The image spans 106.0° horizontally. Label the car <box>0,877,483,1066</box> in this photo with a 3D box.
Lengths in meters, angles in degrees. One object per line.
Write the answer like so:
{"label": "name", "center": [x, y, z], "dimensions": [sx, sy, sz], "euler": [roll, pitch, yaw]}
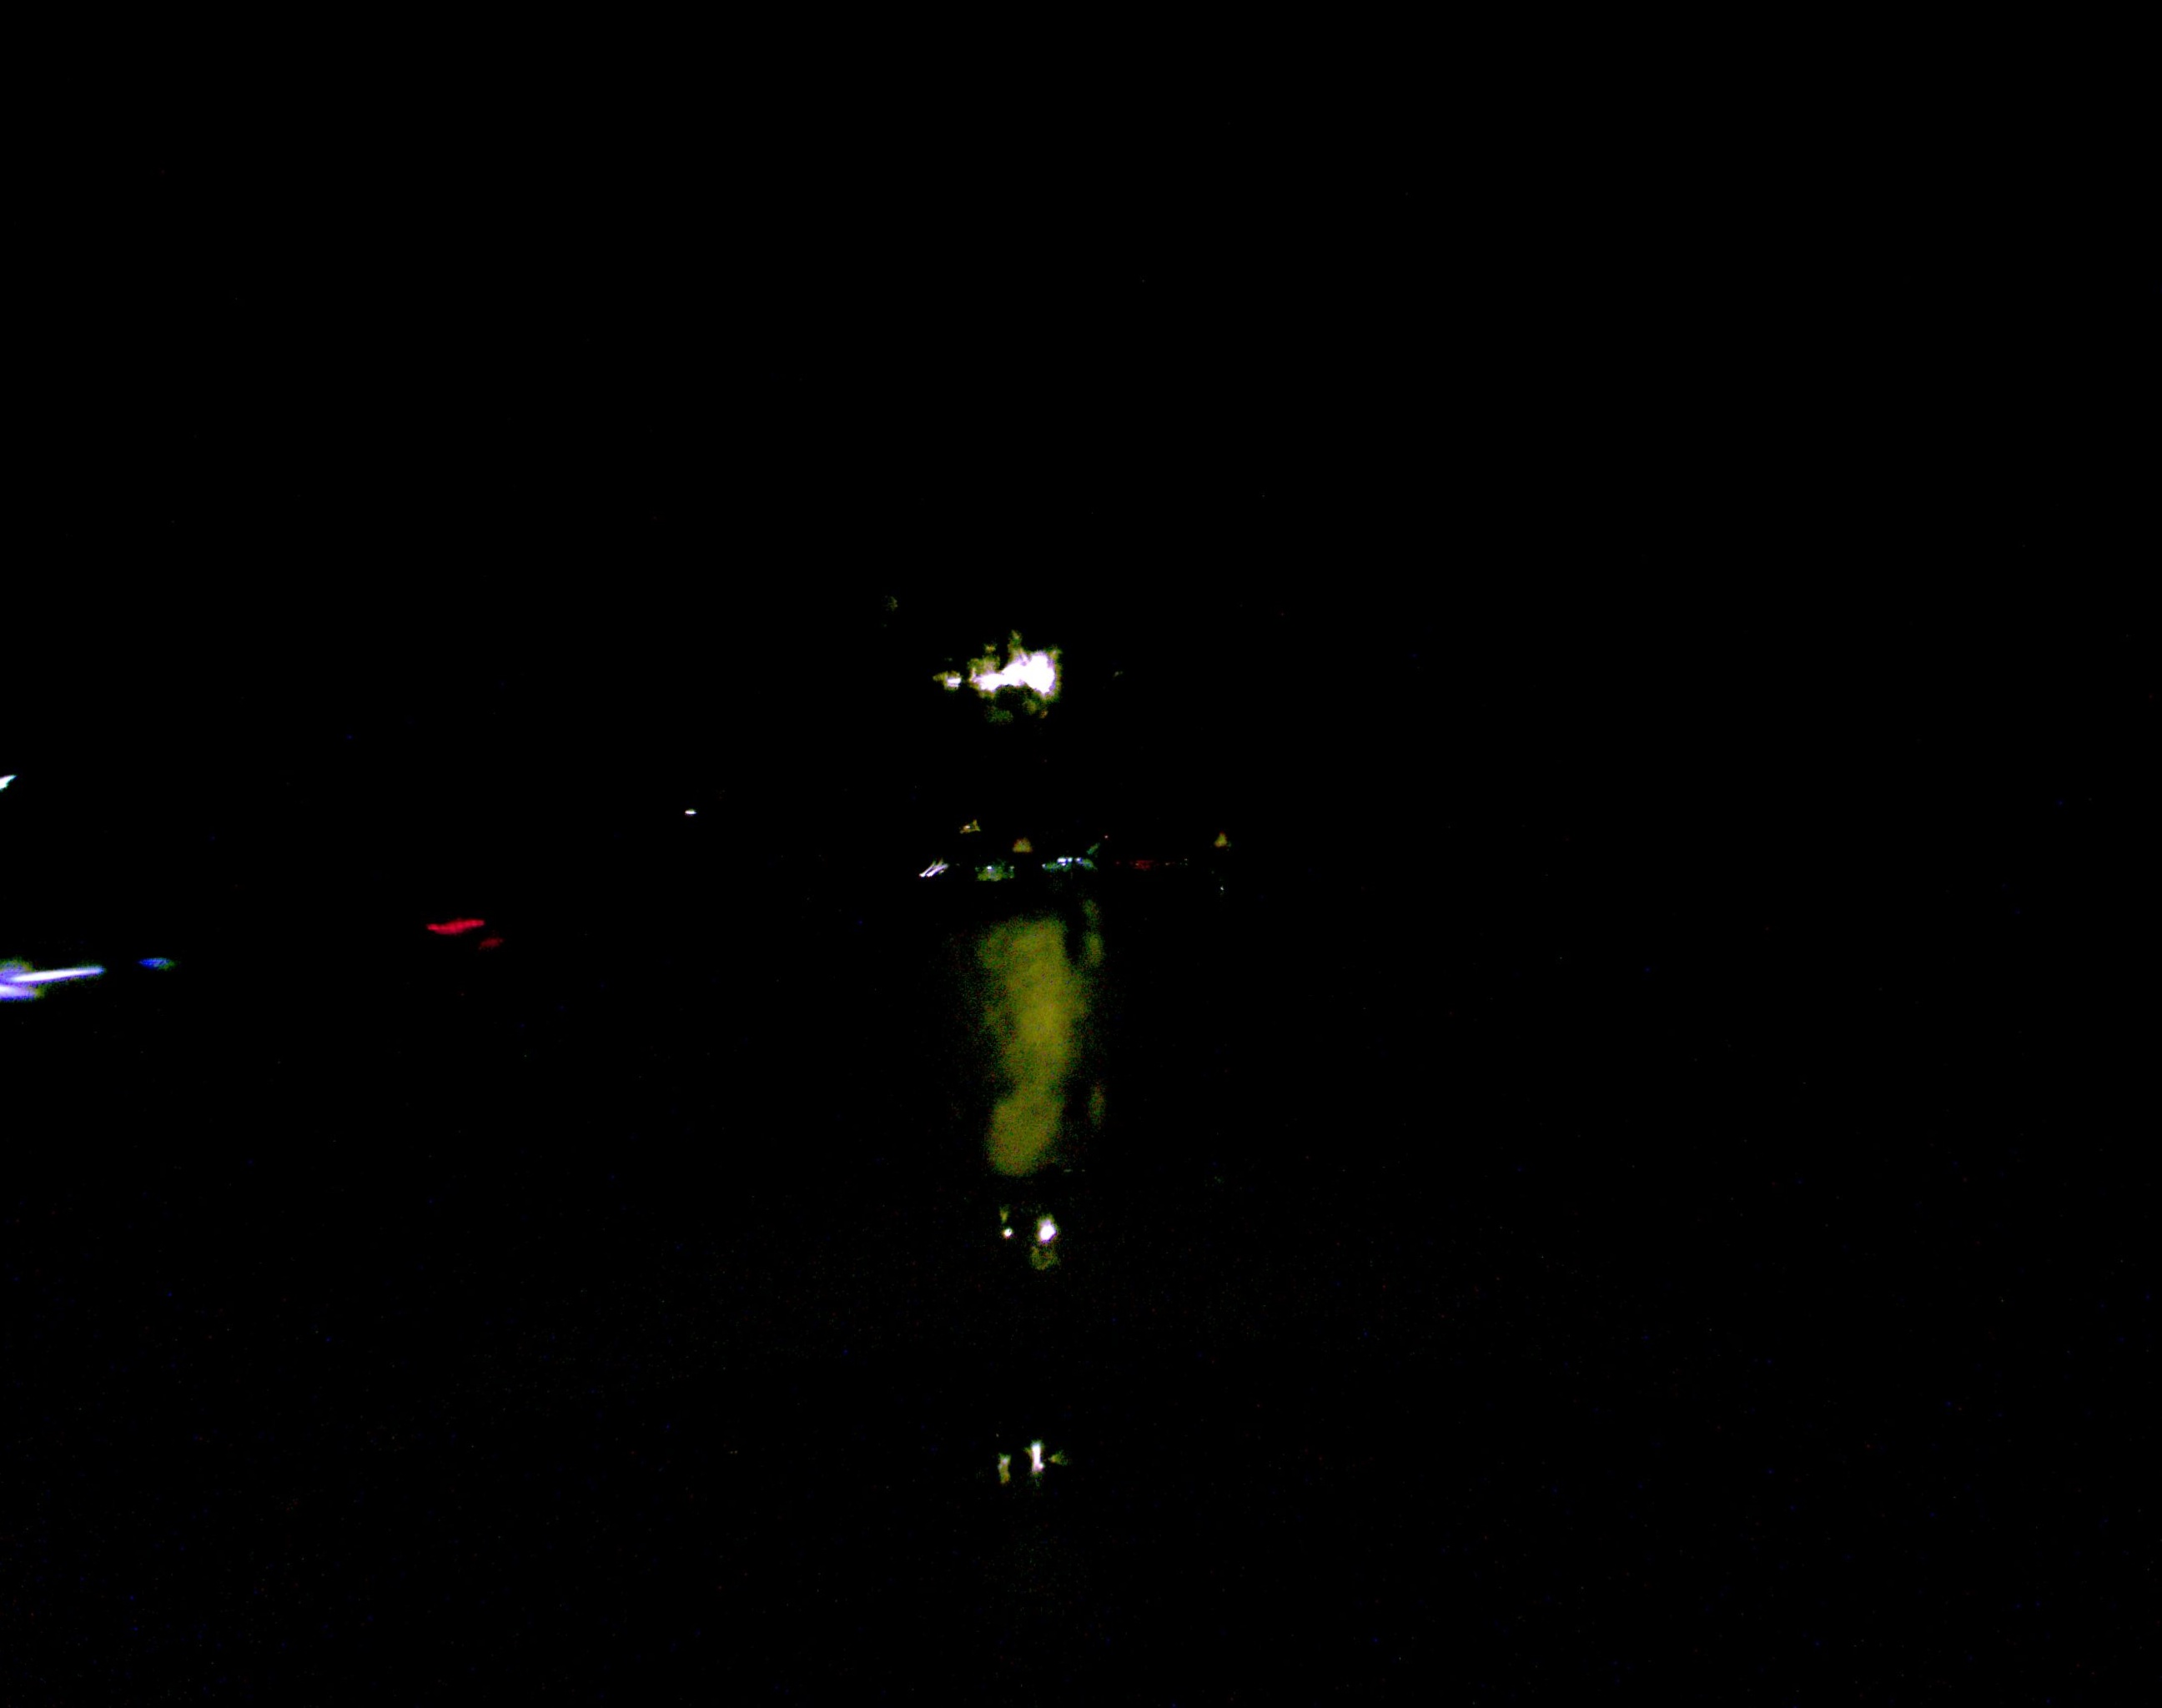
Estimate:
{"label": "car", "center": [-9.317, 1.057, 9.029], "dimensions": [1.700, 1.534, 4.605], "euler": [-2, -2, 5]}

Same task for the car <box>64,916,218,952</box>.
{"label": "car", "center": [-44.978, 3.792, 39.077], "dimensions": [1.974, 1.398, 4.583], "euler": [-3, -2, 33]}
